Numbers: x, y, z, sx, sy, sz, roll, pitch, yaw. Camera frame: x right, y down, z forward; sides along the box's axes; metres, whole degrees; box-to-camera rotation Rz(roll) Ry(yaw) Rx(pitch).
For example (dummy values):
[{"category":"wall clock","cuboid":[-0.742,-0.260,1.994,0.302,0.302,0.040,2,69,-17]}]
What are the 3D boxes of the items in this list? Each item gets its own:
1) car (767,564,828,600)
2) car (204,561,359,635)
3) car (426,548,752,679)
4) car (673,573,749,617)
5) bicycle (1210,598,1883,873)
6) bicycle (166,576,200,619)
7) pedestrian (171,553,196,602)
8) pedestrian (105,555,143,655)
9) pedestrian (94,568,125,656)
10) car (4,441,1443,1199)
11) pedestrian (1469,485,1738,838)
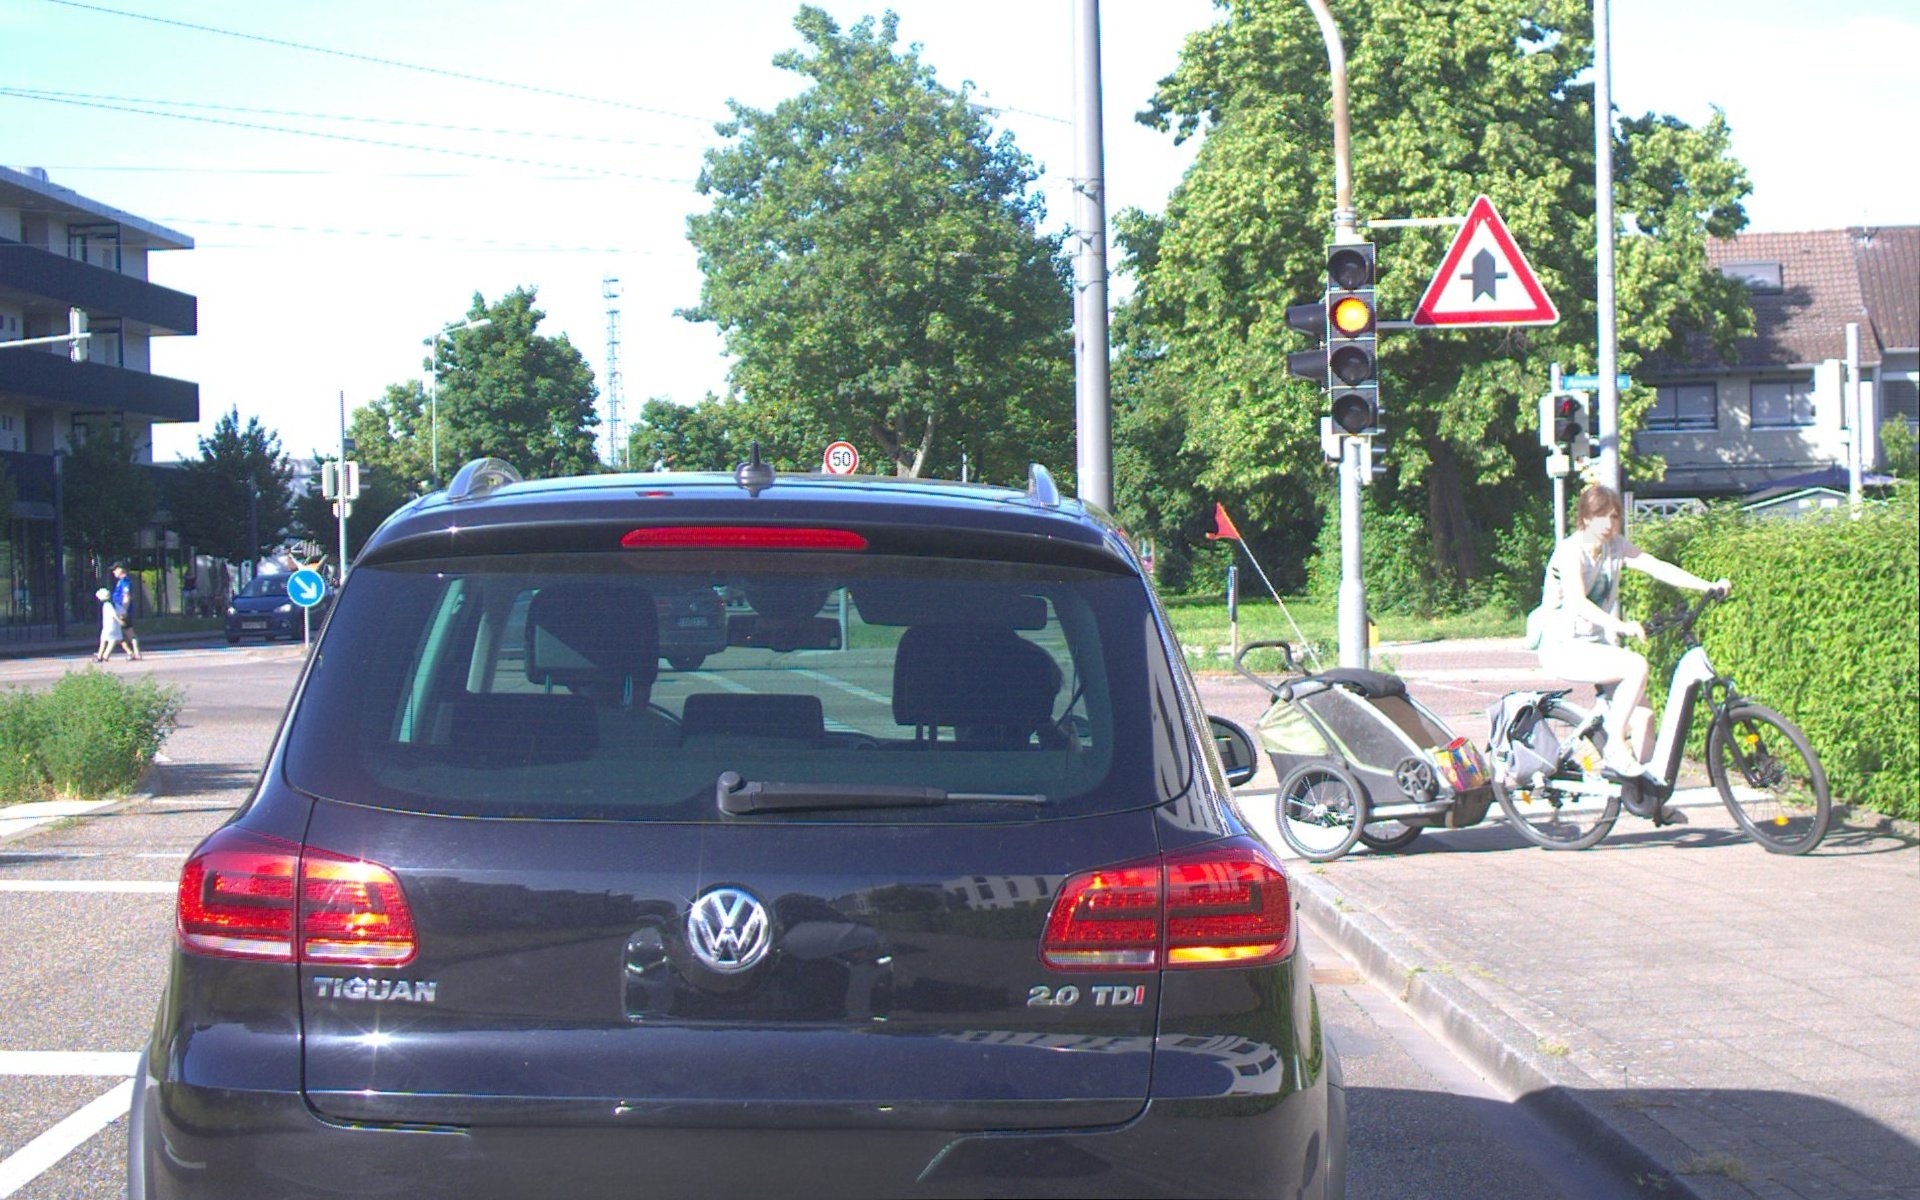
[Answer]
[{"category":"car","cuboid":[-7.204,-0.799,152.893,1.994,1.569,4.338,1,1,7]},{"category":"car","cuboid":[-15.108,-0.057,76.747,1.994,1.569,4.337,1,1,9]},{"category":"car","cuboid":[-5.074,0.164,46.945,3.994,1.678,1.997,1,1,30]},{"category":"car","cuboid":[-9.208,-0.196,127.652,1.994,1.569,4.338,1,1,7]},{"category":"bicycle","cuboid":[2.718,0.606,16.346,3.122,1.169,0.929,-1,1,42]},{"category":"bicycle","cuboid":[-24.221,-0.085,107.143,0.630,1.327,1.913,1,1,-1]},{"category":"pedestrian","cuboid":[-24.204,-0.709,107.172,0.642,1.504,0.596,1,0,0]},{"category":"pedestrian","cuboid":[-14.582,0.089,59.972,0.543,1.738,0.518,1,0,-6]},{"category":"pedestrian","cuboid":[-14.695,0.208,59.404,0.441,1.498,0.518,1,0,-6]},{"category":"car","cuboid":[-0.336,0.600,6.499,1.869,1.632,4.000,1,1,-1]},{"category":"pedestrian","cuboid":[3.009,0.270,16.068,0.854,1.588,0.911,-1,1,41]}]
